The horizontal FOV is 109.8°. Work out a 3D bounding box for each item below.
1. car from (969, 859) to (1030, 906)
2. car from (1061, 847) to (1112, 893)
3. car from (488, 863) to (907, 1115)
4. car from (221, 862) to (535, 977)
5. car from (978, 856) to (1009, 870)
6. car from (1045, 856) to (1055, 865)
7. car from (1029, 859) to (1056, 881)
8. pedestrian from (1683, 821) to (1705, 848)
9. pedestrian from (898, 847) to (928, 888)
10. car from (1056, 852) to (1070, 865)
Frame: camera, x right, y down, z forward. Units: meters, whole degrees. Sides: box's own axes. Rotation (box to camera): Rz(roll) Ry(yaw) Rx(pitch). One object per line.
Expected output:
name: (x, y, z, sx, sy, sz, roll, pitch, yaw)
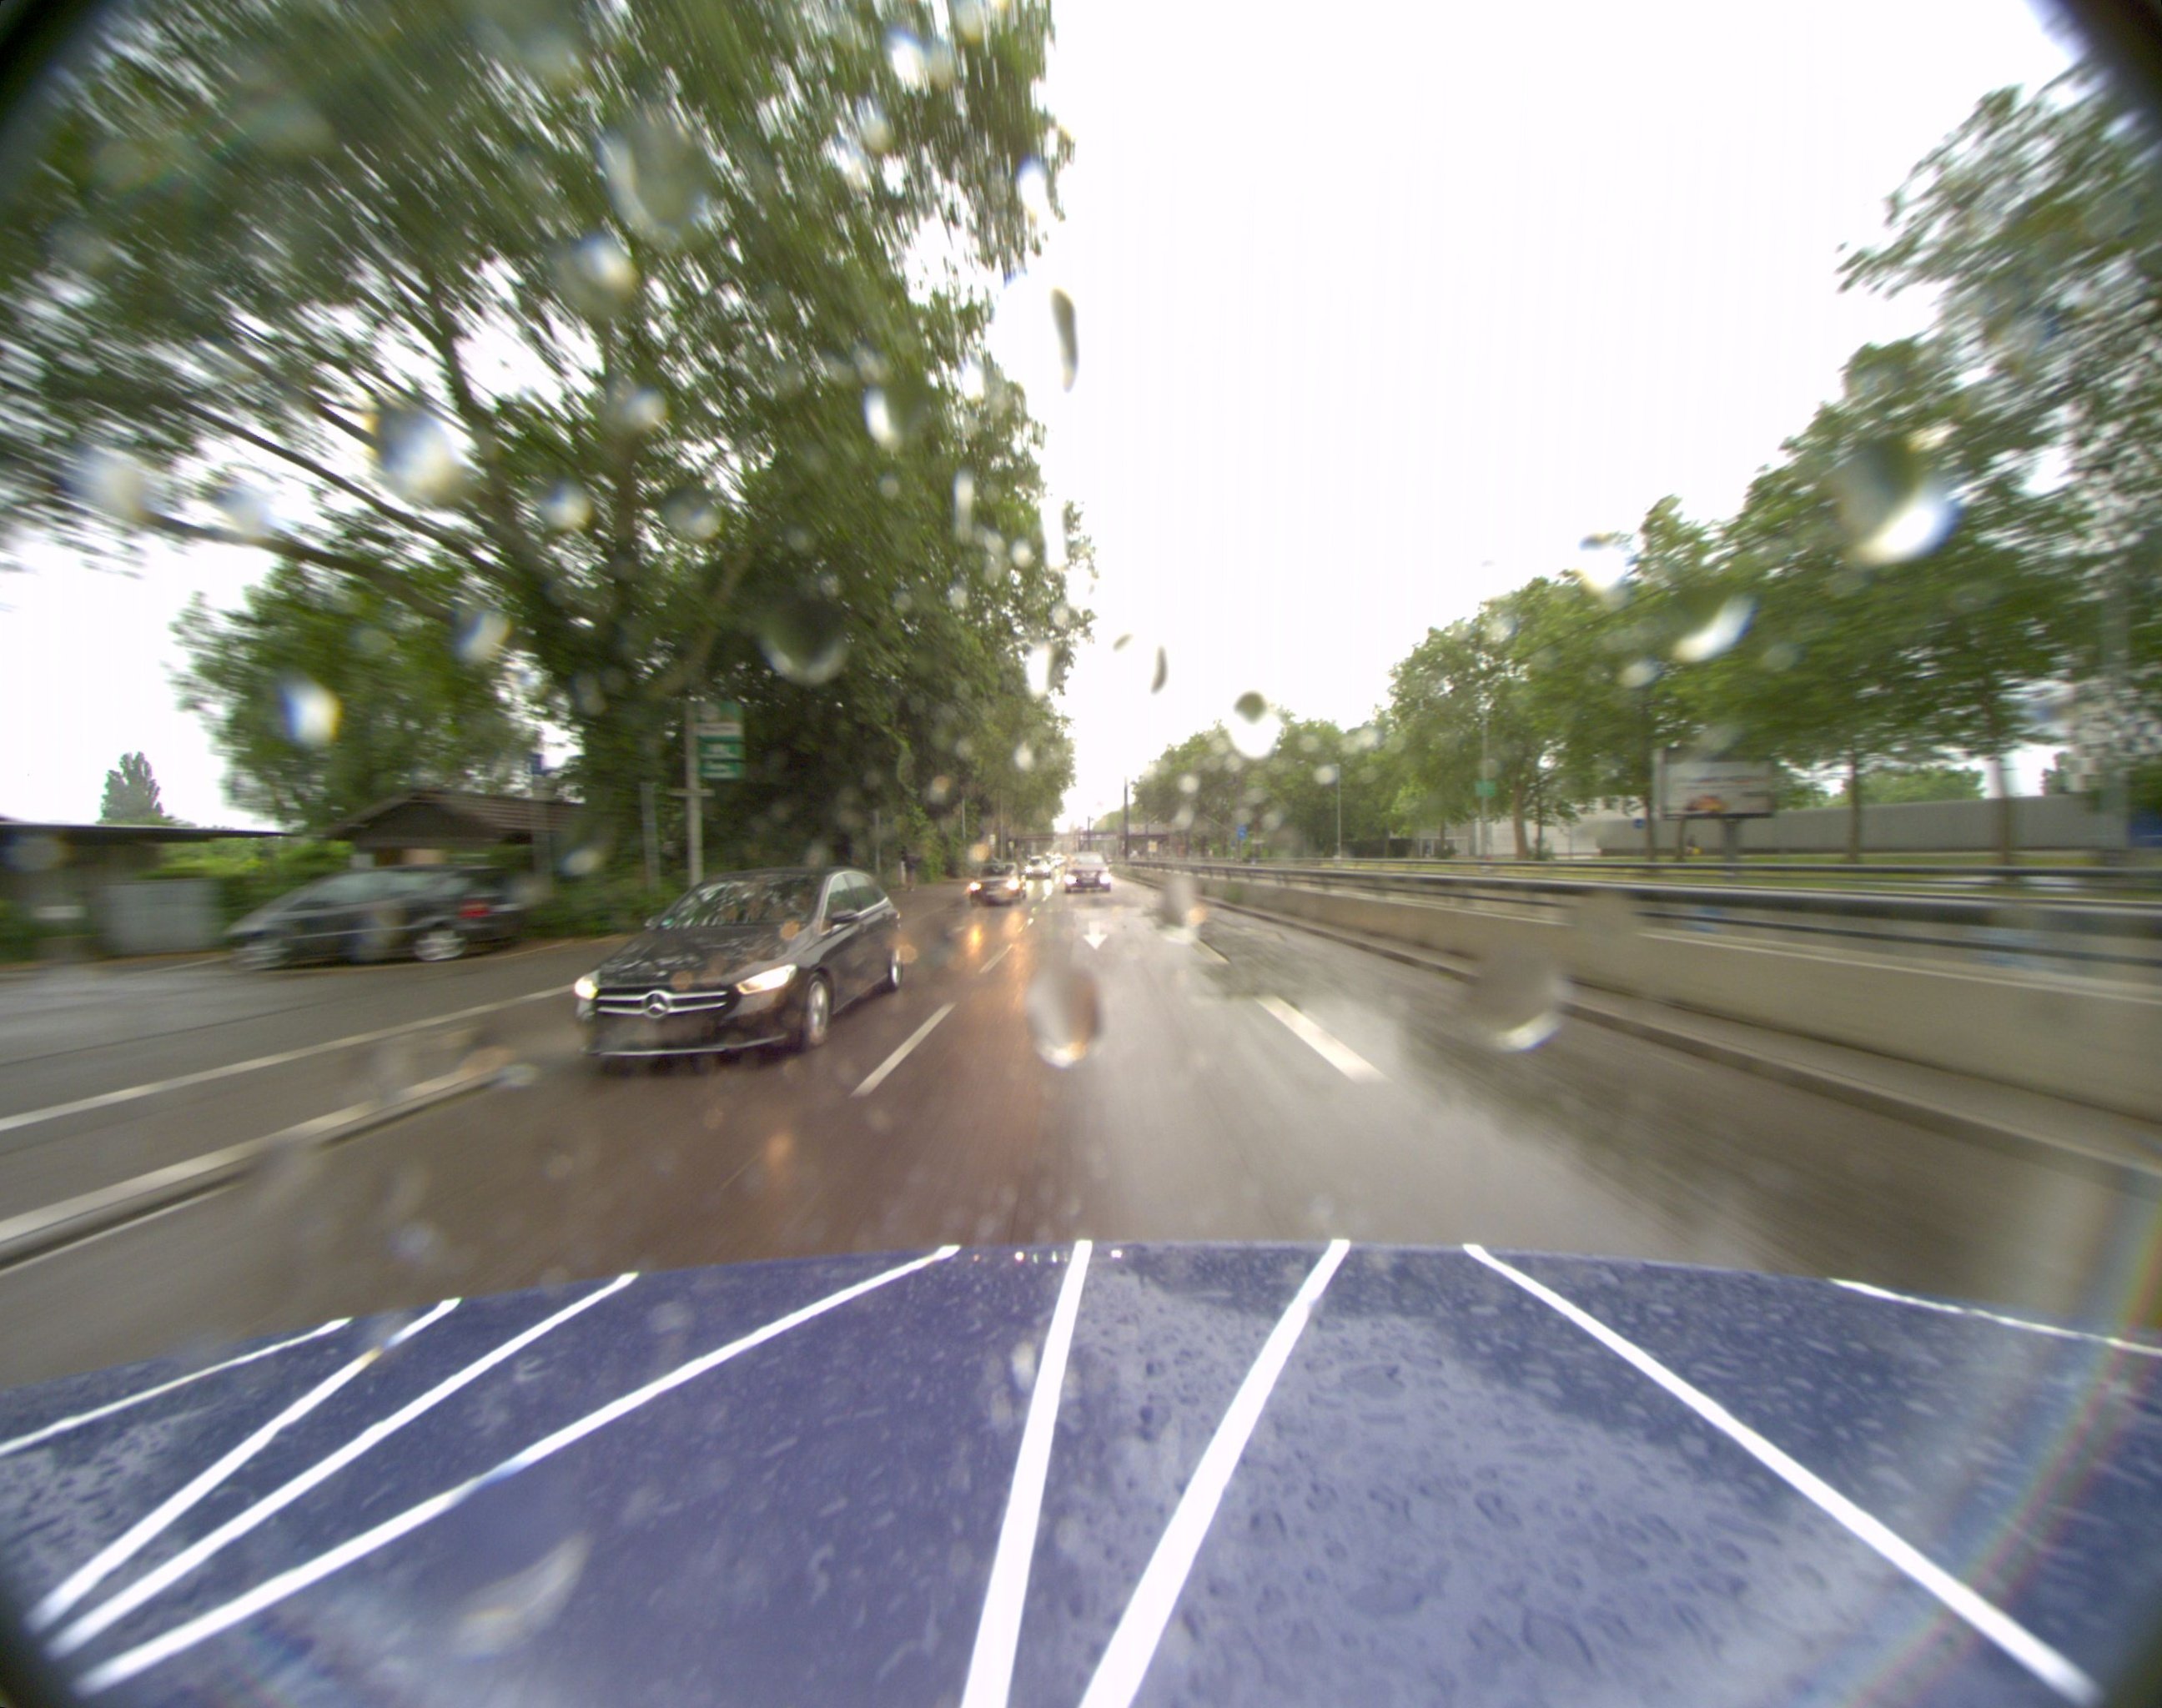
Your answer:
car: (-2.756, 0.945, 26.446, 1.641, 1.377, 3.781, -3, 1, 0)
car: (0.255, 0.656, 32.736, 1.975, 1.794, 4.159, -2, 0, 1)
car: (-3.073, 0.933, 7.318, 1.821, 1.521, 4.420, -3, 0, -2)
car: (-11.331, 1.008, 12.487, 3.392, 1.599, 1.657, -2, -1, -10)
car: (-9.842, 1.003, 85.349, 1.611, 1.423, 3.546, -4, 1, -43)
car: (-6.059, 1.326, 147.801, 1.870, 1.688, 4.158, -2, 0, -2)
car: (-2.791, 1.162, 55.309, 1.821, 1.520, 4.158, -2, 0, -2)
pedestrian: (48.030, -1.521, 59.518, 1.004, 2.002, 0.790, -3, 1, 0)
pedestrian: (-7.278, 0.574, 32.937, 0.969, 1.692, 1.140, -4, 1, -1)
car: (-2.553, 0.660, 106.108, 1.870, 1.688, 4.424, -2, 0, -2)
